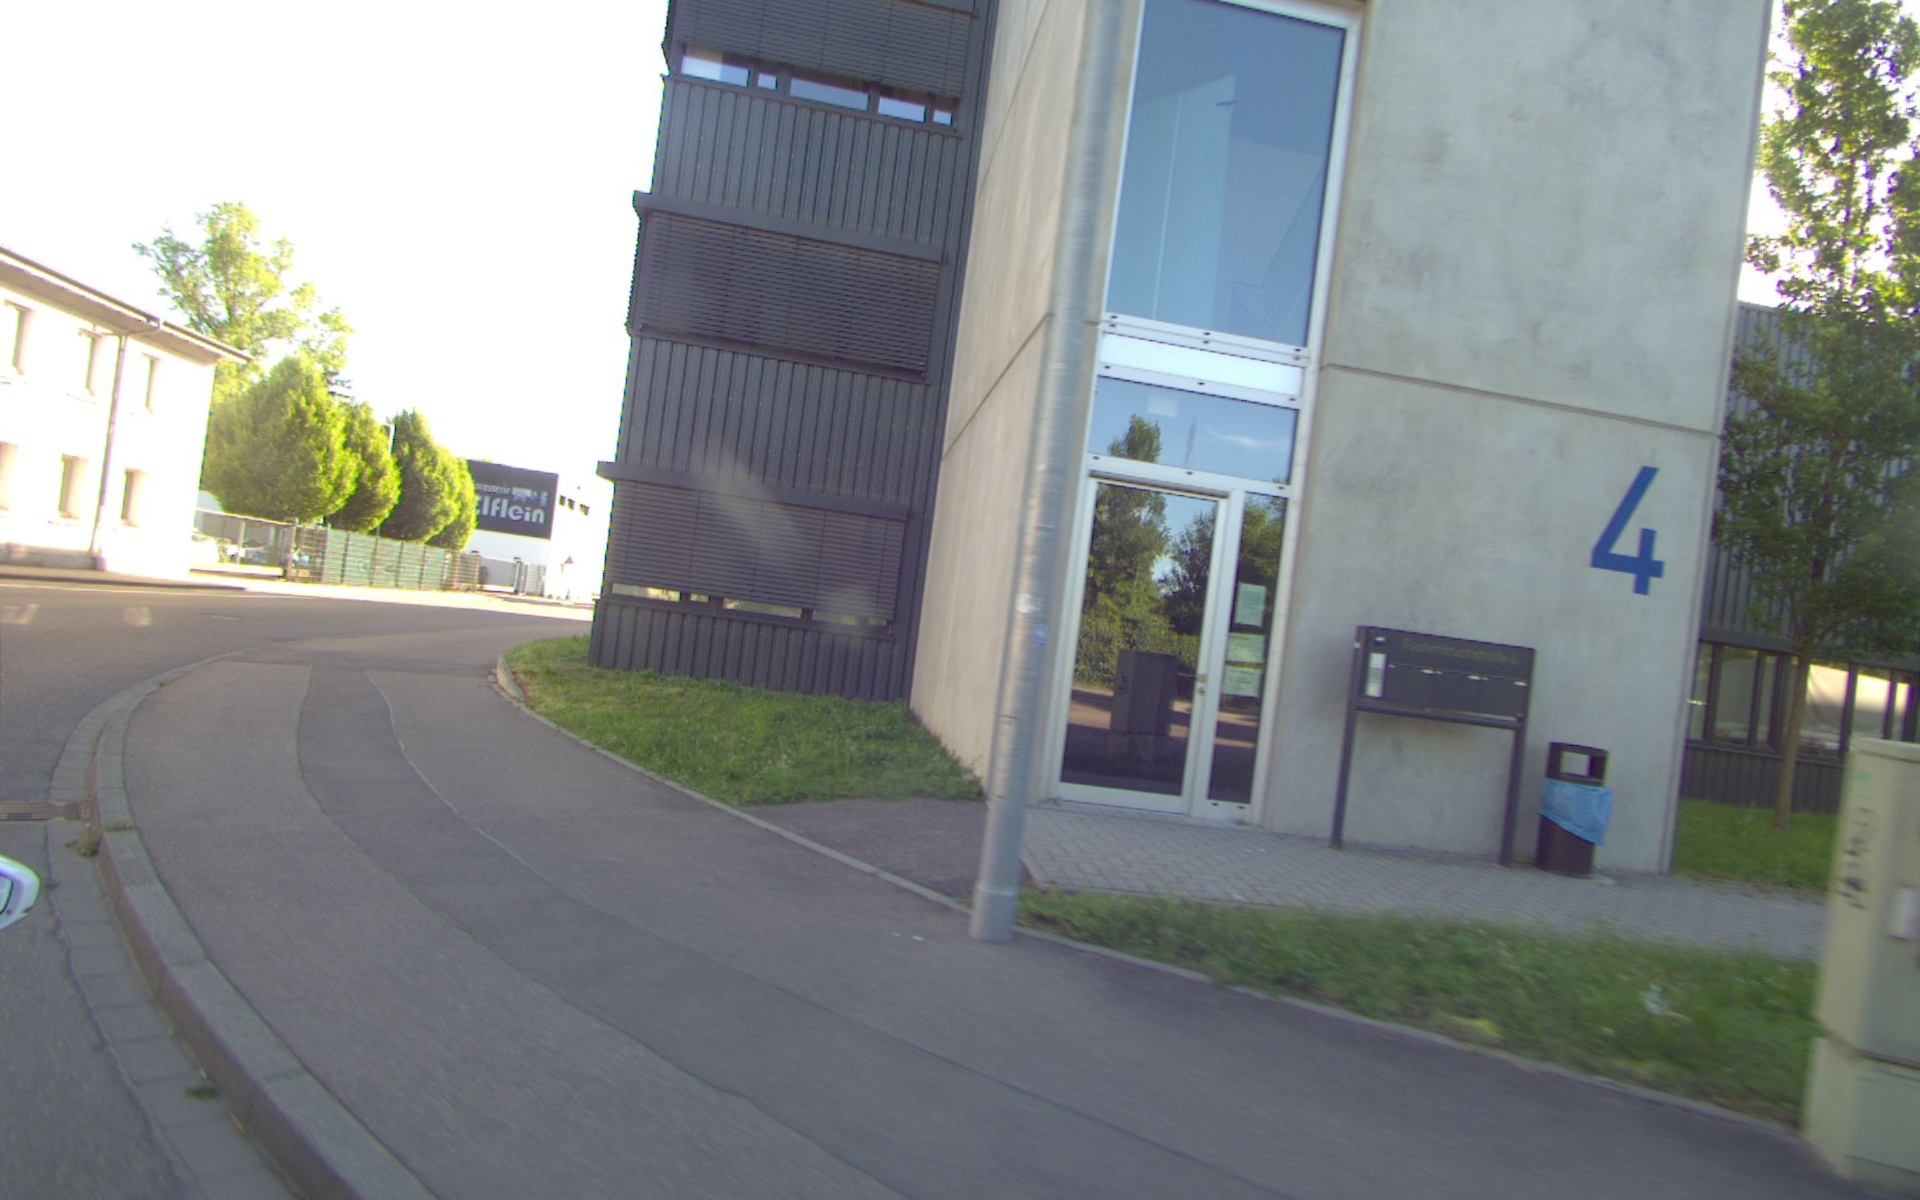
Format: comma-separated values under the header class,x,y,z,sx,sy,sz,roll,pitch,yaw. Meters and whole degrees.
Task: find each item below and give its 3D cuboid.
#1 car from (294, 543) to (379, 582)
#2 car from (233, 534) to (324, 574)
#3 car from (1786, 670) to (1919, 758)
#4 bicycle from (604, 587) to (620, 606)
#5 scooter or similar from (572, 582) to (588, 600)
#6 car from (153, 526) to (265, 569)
class,x,y,z,sx,sy,sz,roll,pitch,yaw
car,-31.280,-1.846,50.624,1.965,1.468,3.997,8,-2,-7
car,-33.876,-2.259,50.136,1.965,1.468,3.997,8,-2,-7
car,29.957,3.783,32.121,5.698,2.282,2.249,8,-1,-10
bicycle,-25.703,-0.245,74.329,0.658,1.304,2.170,7,-1,-9
scooter or similar,-28.327,-0.690,74.952,0.500,1.216,1.752,10,-2,-7
car,-37.417,-2.584,50.216,3.930,1.559,1.874,7,-1,-7
